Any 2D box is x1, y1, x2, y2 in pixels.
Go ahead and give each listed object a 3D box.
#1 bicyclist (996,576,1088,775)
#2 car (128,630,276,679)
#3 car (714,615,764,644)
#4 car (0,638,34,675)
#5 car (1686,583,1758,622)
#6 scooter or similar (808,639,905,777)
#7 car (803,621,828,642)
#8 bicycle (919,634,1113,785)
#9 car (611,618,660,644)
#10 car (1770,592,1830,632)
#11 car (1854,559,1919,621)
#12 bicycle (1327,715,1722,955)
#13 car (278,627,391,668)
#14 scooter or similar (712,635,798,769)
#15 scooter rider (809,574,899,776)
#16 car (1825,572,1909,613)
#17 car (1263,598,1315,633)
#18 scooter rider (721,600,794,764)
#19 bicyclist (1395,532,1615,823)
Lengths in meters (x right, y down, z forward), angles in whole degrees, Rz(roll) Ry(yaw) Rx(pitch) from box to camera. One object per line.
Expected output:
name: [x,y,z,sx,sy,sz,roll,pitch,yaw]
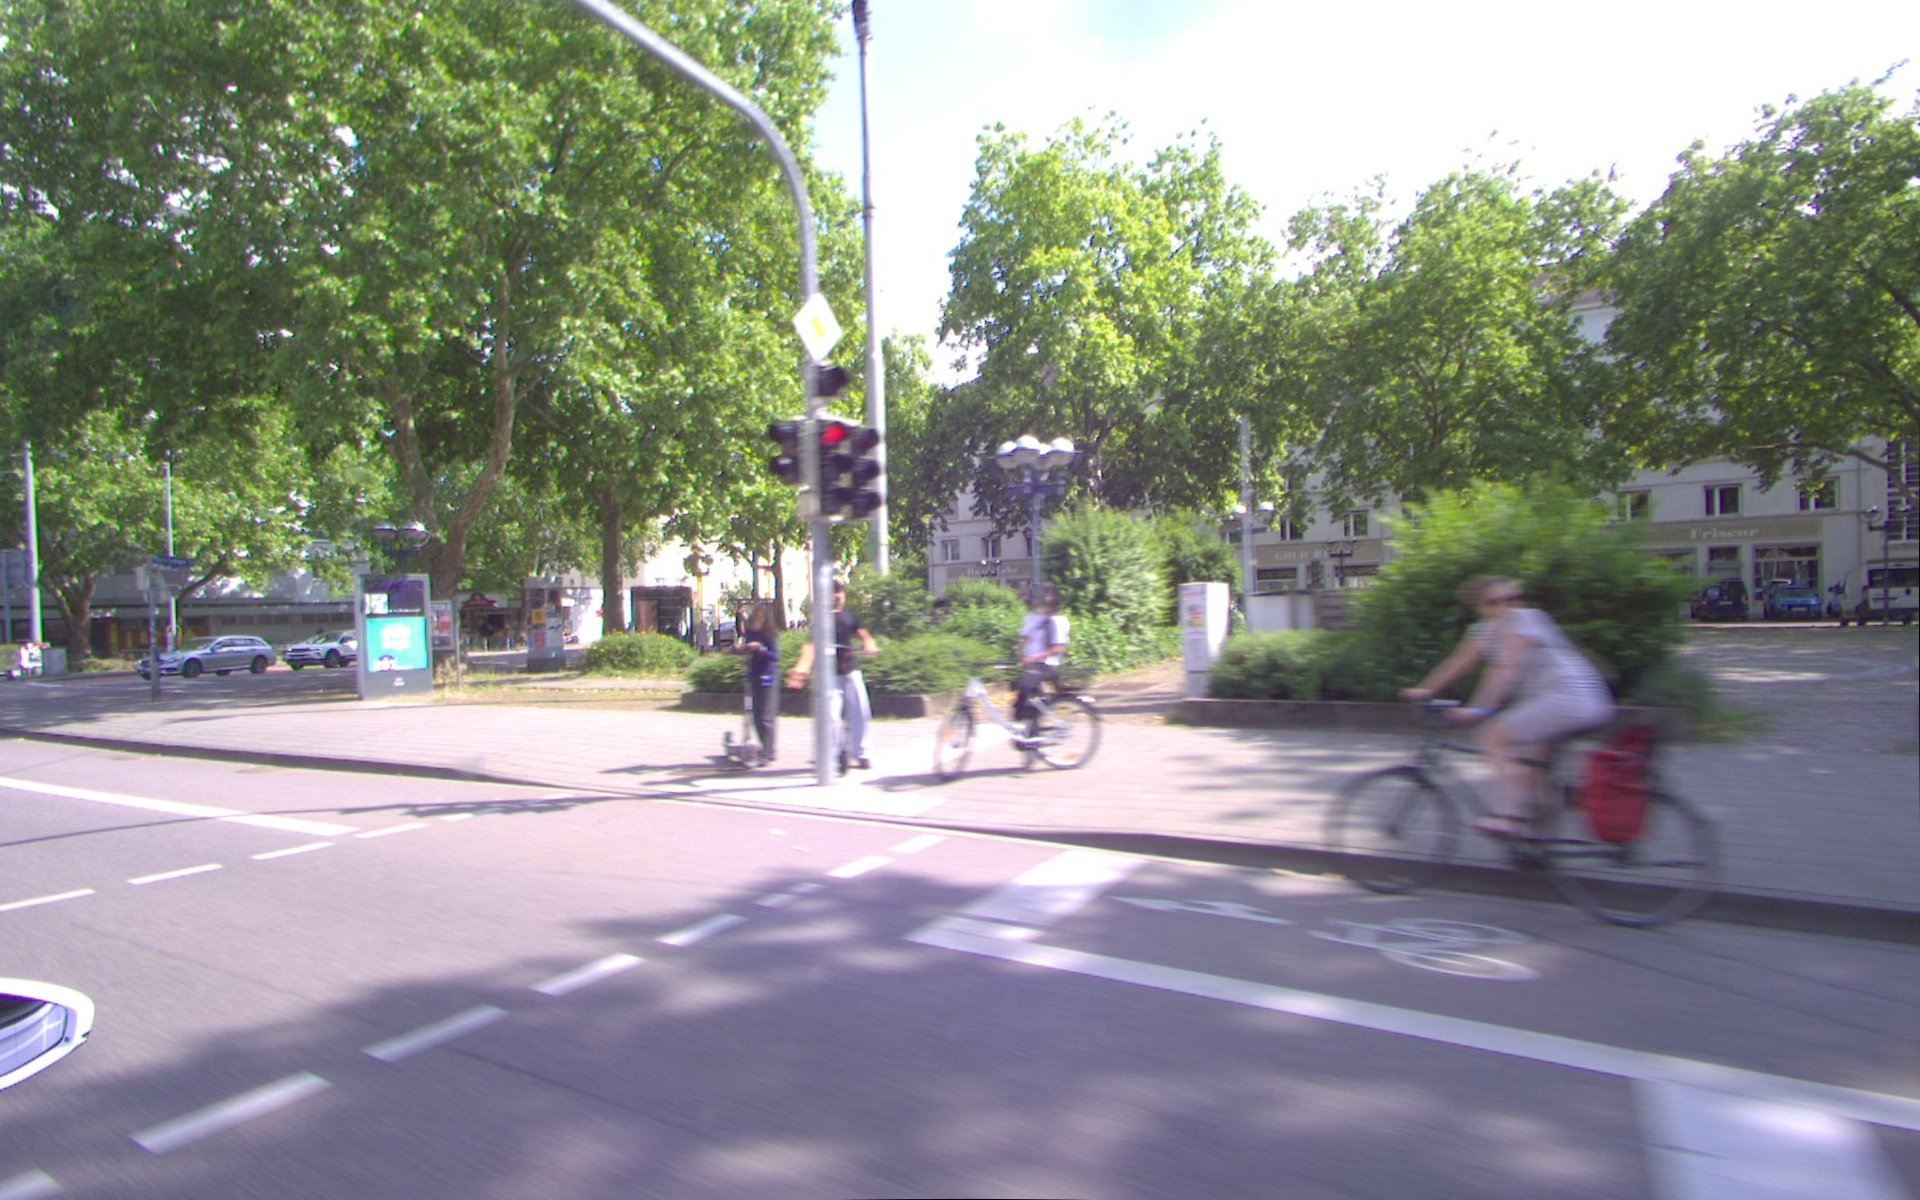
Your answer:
bicyclist: [0.729,0.649,8.975,0.573,1.691,0.506,-4,2,-20]
car: [-27.478,1.946,36.471,1.827,1.509,3.995,-2,0,14]
car: [-13.252,1.775,60.233,1.658,1.521,3.998,-2,1,7]
car: [-41.053,2.413,41.643,3.631,1.504,1.721,-2,0,-41]
car: [35.824,0.097,47.166,2.051,1.681,4.066,-2,0,28]
scooter or similar: [-0.997,1.001,9.583,0.537,1.187,0.871,-4,2,-33]
car: [-13.546,2.952,93.763,1.553,1.742,3.999,-2,1,2]
bicycle: [0.503,0.938,8.903,1.603,1.128,0.506,-4,2,-20]
car: [-22.906,2.175,70.824,1.658,1.641,3.998,-2,0,8]
car: [38.226,0.577,45.626,1.910,1.688,3.710,-2,-3,38]
car: [33.589,-0.299,35.714,2.228,2.039,3.906,-2,-3,38]
bicycle: [2.822,1.118,5.131,1.697,0.933,0.467,-2,0,40]
car: [-26.662,2.008,42.870,1.826,1.509,4.074,-2,0,9]
scooter or similar: [-2.064,1.012,10.166,0.534,1.243,0.876,-2,2,9]
scooter rider: [-1.018,0.685,9.585,0.537,1.835,0.675,-4,3,-33]
car: [40.421,-0.333,44.718,1.823,1.681,4.066,-2,0,28]
car: [15.700,0.717,47.711,1.839,1.538,3.929,-2,0,26]
scooter rider: [-2.061,0.827,10.216,0.534,1.615,0.437,-2,2,9]
bicyclist: [2.789,0.374,5.145,0.899,1.361,0.467,-2,1,40]
